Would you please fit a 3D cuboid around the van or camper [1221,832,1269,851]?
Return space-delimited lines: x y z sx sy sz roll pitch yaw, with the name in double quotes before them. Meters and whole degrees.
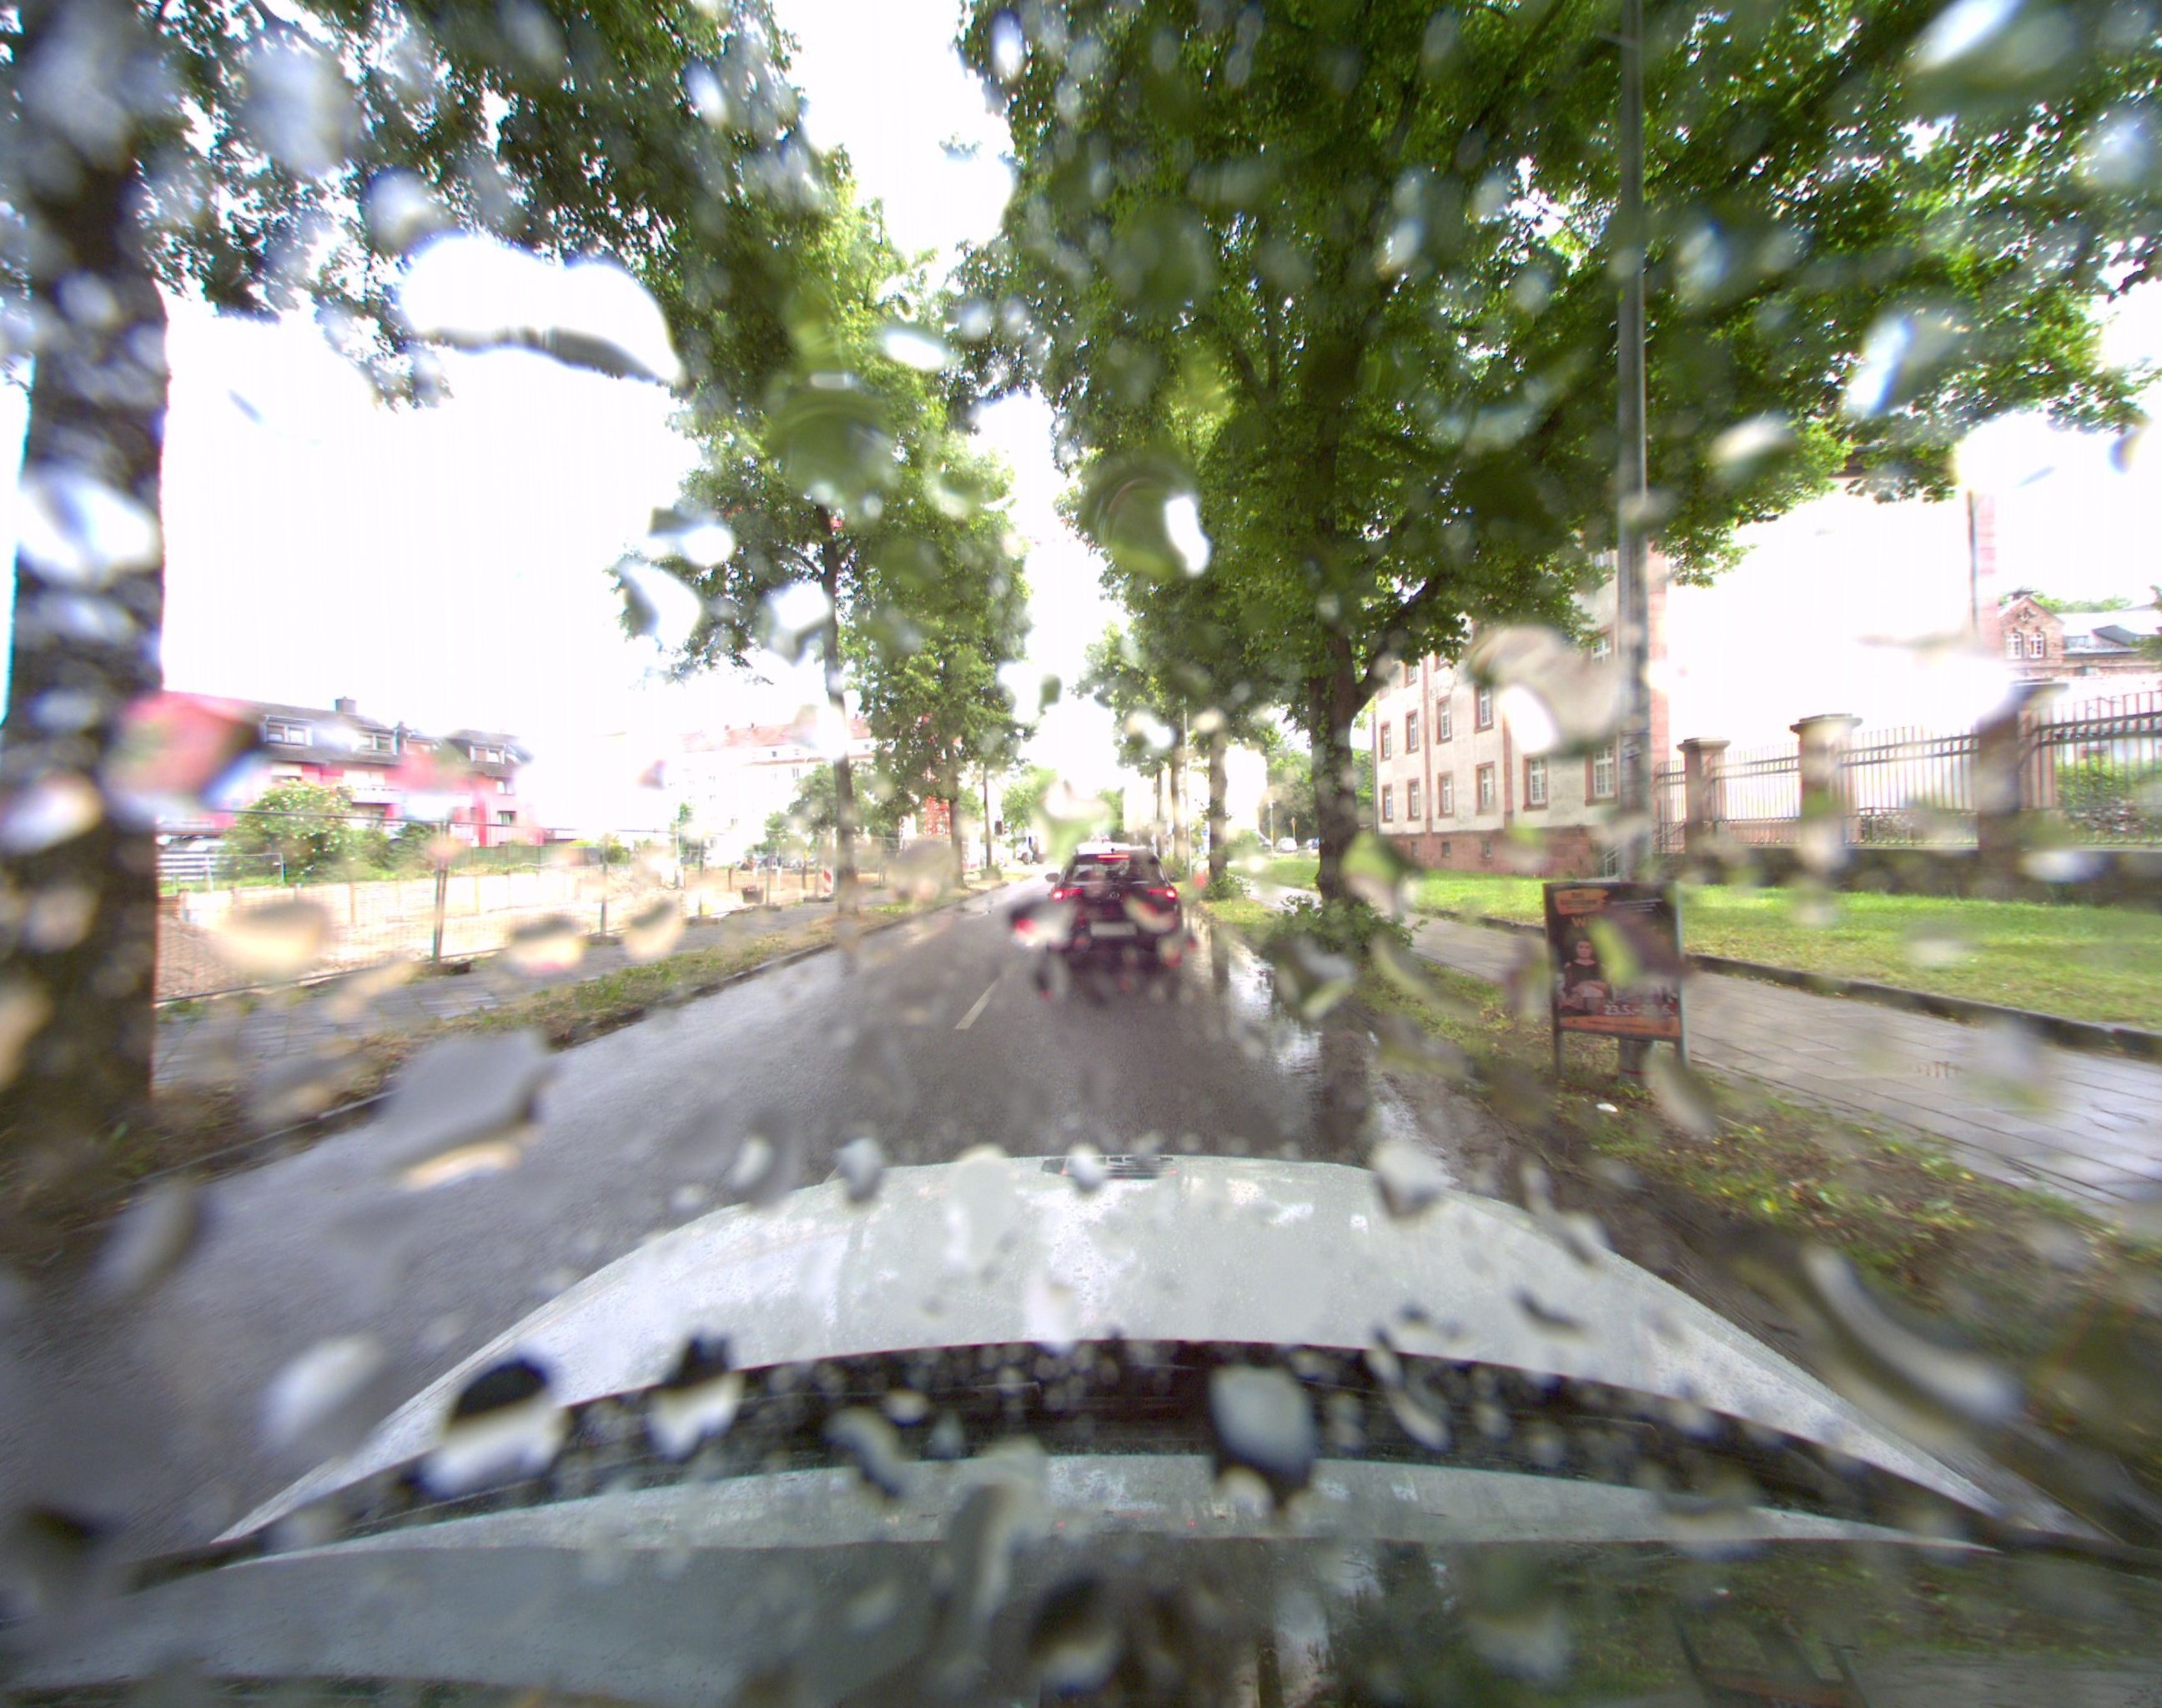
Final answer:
"van or camper" 18.110 -1.388 90.090 4.855 1.925 2.133 -1 1 2

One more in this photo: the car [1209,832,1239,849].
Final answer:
"car" 17.592 -1.626 100.043 3.385 1.781 1.765 -4 0 10

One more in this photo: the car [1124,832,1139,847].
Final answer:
"car" 7.378 -2.117 118.527 1.986 2.013 4.002 -1 0 2

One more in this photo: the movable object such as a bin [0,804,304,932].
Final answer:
"movable object such as a bin" -53.109 0.598 42.367 6.806 6.043 16.845 0 1 26

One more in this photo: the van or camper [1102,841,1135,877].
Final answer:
"van or camper" 2.172 0.247 46.723 1.812 1.947 4.199 -1 1 3

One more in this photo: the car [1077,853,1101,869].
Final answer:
"car" 0.998 0.809 98.404 1.741 1.651 3.952 -4 0 16

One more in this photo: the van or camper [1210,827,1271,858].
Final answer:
"van or camper" 14.201 -1.016 72.798 5.015 2.595 2.168 -2 0 0

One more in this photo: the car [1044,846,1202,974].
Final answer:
"car" 0.570 0.664 11.878 1.888 1.522 4.002 -1 1 2

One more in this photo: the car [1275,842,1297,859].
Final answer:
"car" 21.707 -0.378 86.173 1.733 1.684 3.879 -4 0 8

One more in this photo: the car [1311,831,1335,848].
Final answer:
"car" 30.346 -1.834 102.299 1.984 2.013 4.007 -4 0 6

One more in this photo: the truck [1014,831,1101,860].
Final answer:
"truck" -2.322 -0.808 78.018 8.134 2.656 2.833 0 1 34

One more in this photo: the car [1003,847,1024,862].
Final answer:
"car" -8.035 0.041 97.149 1.582 1.512 3.740 -4 0 8

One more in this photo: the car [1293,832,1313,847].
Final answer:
"car" 29.168 -1.912 107.153 1.858 1.857 3.816 -4 0 6

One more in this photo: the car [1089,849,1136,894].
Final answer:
"car" 1.373 0.696 34.221 1.672 1.708 3.915 -4 0 5

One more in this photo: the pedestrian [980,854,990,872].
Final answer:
"pedestrian" -8.108 0.742 68.849 0.663 1.485 0.668 -1 1 -23
